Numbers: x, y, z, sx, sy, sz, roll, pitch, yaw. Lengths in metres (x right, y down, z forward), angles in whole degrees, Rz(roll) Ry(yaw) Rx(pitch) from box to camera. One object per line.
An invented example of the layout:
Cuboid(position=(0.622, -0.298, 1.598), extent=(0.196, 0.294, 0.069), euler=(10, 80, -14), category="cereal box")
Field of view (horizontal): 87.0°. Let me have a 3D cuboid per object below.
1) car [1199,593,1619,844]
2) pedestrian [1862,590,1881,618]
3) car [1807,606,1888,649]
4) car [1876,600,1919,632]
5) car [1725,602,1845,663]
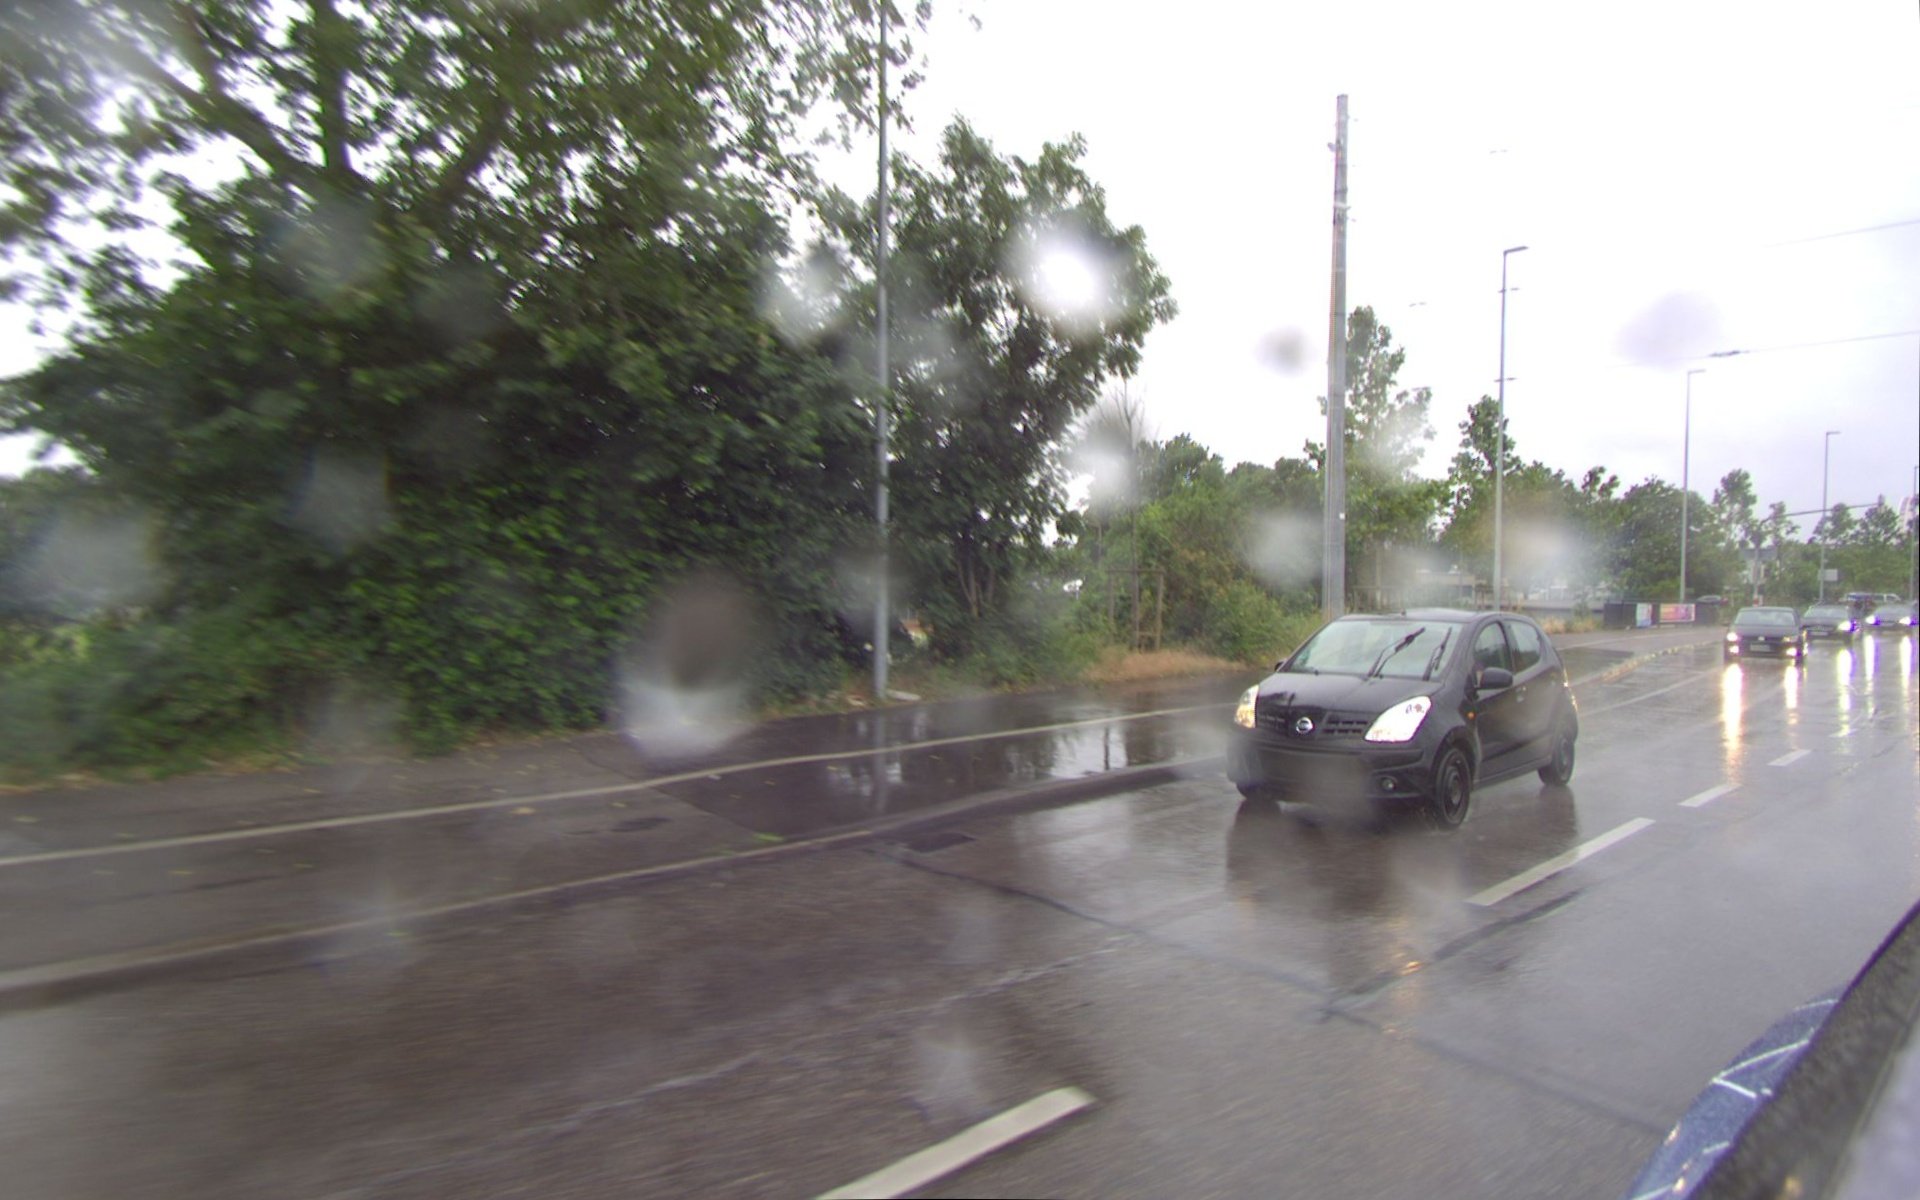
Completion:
Cuboid(position=(3.742, 0.726, 8.048), extent=(1.772, 1.480, 4.026), euler=(0, -1, 44), category="car")
Cuboid(position=(54.392, 0.220, 60.394), extent=(0.607, 1.631, 0.734), euler=(0, 2, -39), category="pedestrian")
Cuboid(position=(34.082, 1.037, 38.842), extent=(3.969, 1.544, 1.715), euler=(1, -1, -39), category="car")
Cuboid(position=(47.724, 0.830, 50.999), extent=(4.102, 1.544, 1.715), euler=(1, -1, -39), category="car")
Cuboid(position=(21.964, 0.840, 26.888), extent=(3.969, 1.503, 1.715), euler=(1, -1, -39), category="car")
